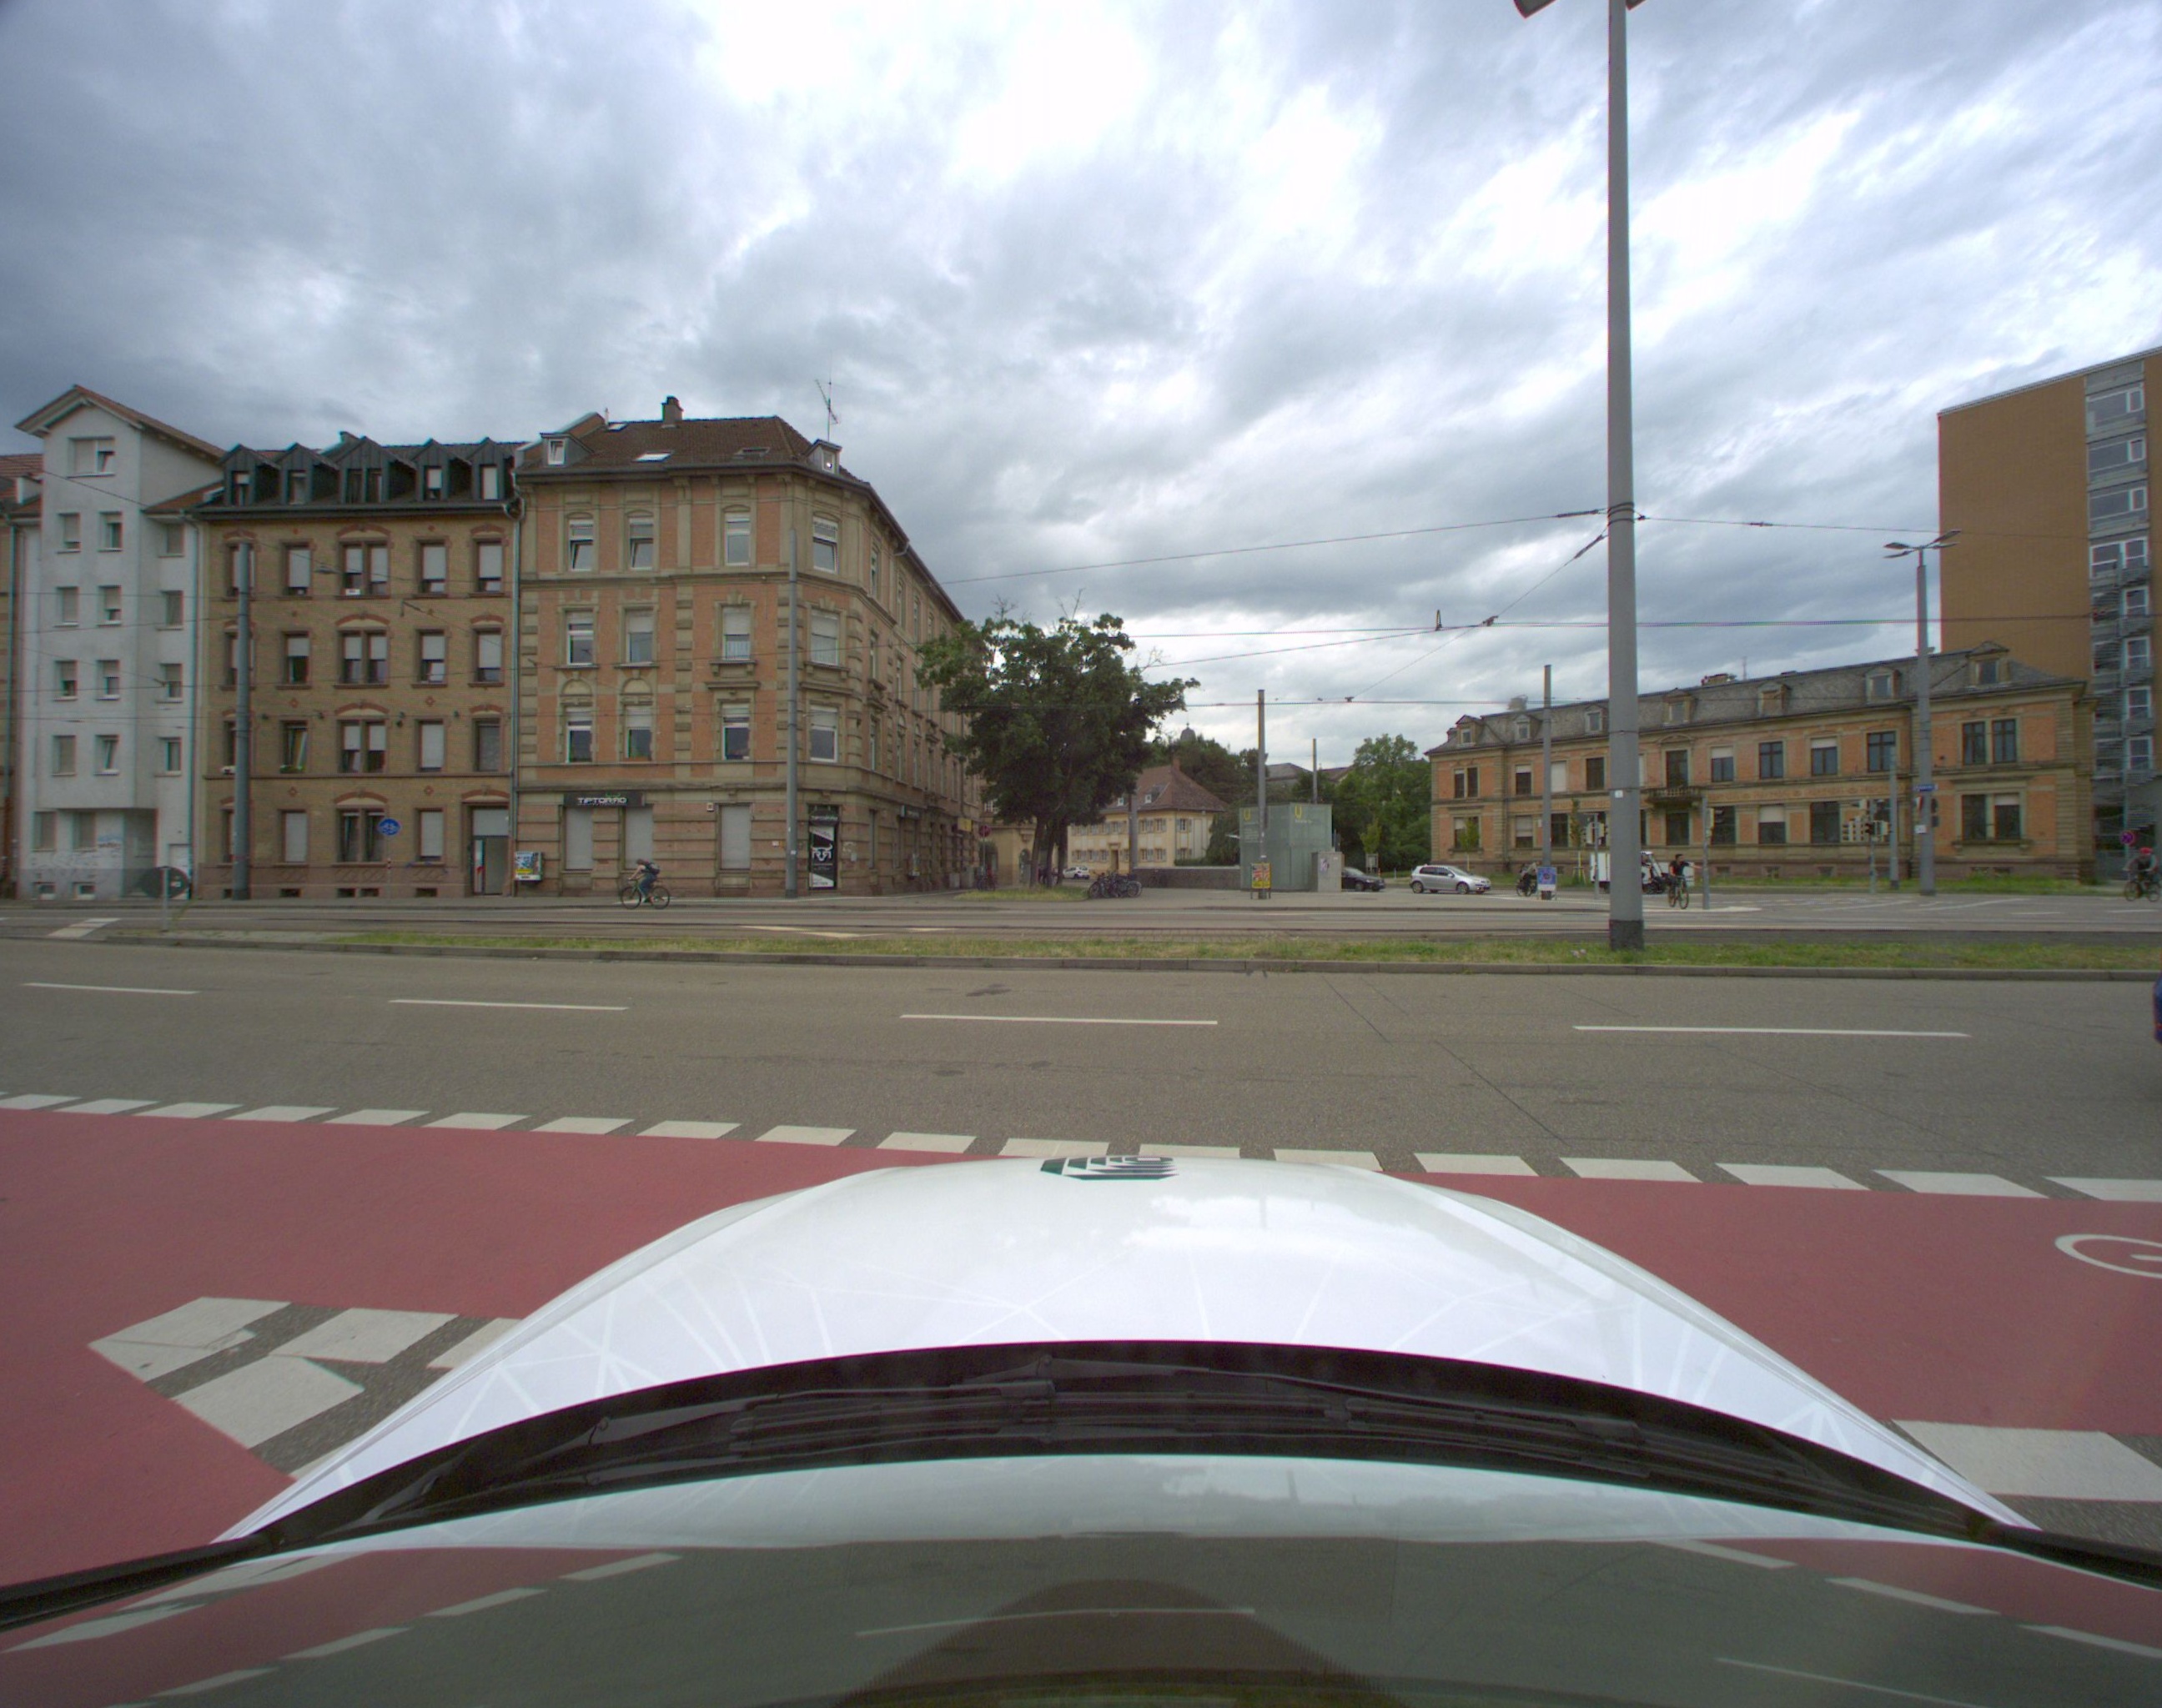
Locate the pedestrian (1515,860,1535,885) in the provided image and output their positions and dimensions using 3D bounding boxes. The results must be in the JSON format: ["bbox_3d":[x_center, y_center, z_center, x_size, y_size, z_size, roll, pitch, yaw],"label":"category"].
[{"bbox_3d":[31.885,1.335,58.525,1.113,1.763,0.763,-1,-1,43],"label":"pedestrian"}]

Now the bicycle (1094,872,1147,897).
[{"bbox_3d":[1.667,1.290,34.443,2.197,1.006,0.482,0,-1,14],"label":"bicycle"}]

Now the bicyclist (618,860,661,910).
[{"bbox_3d":[-13.579,0.943,25.059,0.936,1.494,0.663,0,-1,1],"label":"bicyclist"}]

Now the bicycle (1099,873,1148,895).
[{"bbox_3d":[1.937,1.375,37.098,2.197,0.987,0.502,0,-1,14],"label":"bicycle"}]

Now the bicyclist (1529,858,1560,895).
[{"bbox_3d":[20.849,1.010,36.662,0.859,1.623,0.908,1,-2,-35],"label":"bicyclist"}]

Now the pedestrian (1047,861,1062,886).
[{"bbox_3d":[-1.842,1.343,56.529,0.839,1.722,0.954,0,-1,8],"label":"pedestrian"}]

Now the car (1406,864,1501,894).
[{"bbox_3d":[19.209,1.242,42.143,1.769,1.454,4.116,0,-1,-34],"label":"car"}]

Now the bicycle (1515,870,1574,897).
[{"bbox_3d":[20.842,1.306,36.657,0.861,1.208,2.174,1,-2,-35],"label":"bicycle"}]

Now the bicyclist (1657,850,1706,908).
[{"bbox_3d":[19.289,0.807,26.180,0.809,1.798,1.031,-2,-1,7],"label":"bicyclist"}]

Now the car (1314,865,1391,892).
[{"bbox_3d":[15.608,1.366,46.994,1.702,1.449,4.103,0,0,-30],"label":"car"}]

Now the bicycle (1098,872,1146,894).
[{"bbox_3d":[2.000,1.412,39.351,2.197,1.039,0.691,0,-1,14],"label":"bicycle"}]

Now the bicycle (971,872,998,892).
[{"bbox_3d":[-4.521,1.301,38.342,0.656,0.914,1.996,0,0,12],"label":"bicycle"}]

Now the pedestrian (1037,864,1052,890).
[{"bbox_3d":[-2.508,1.567,55.312,0.839,1.722,0.954,0,-1,8],"label":"pedestrian"}]

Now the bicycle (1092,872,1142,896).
[{"bbox_3d":[1.484,1.246,33.905,2.016,0.987,0.524,0,-1,14],"label":"bicycle"}]

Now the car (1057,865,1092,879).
[{"bbox_3d":[-0.751,2.001,92.173,1.705,1.449,4.140,0,0,-38],"label":"car"}]

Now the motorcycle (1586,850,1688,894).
[{"bbox_3d":[26.491,0.848,38.885,1.703,2.014,3.647,0,-1,-36],"label":"motorcycle"}]

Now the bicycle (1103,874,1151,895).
[{"bbox_3d":[2.151,1.416,38.075,2.197,0.987,0.587,0,-1,14],"label":"bicycle"}]

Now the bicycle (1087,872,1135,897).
[{"bbox_3d":[1.225,1.226,33.184,1.850,0.987,0.502,0,-1,13],"label":"bicycle"}]

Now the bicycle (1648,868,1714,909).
[{"bbox_3d":[19.307,1.113,26.266,0.809,1.243,2.004,-1,-2,7],"label":"bicycle"}]

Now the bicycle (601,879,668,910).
[{"bbox_3d":[-13.720,1.249,25.058,1.708,0.915,0.608,0,-1,0],"label":"bicycle"}]

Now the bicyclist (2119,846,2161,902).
[{"bbox_3d":[36.693,0.674,28.038,1.049,1.892,0.826,0,-2,-21],"label":"bicyclist"}]

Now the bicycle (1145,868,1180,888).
[{"bbox_3d":[4.859,1.410,48.690,0.743,1.115,2.339,0,-1,-33],"label":"bicycle"}]

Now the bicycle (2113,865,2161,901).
[{"bbox_3d":[36.708,0.983,28.022,2.235,1.208,0.821,0,-2,-21],"label":"bicycle"}]

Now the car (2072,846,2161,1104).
[{"bbox_3d":[8.508,0.704,4.566,4.450,1.488,1.779,0,-1,-10],"label":"car"}]

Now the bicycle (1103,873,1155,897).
[{"bbox_3d":[2.064,1.327,35.149,2.197,0.987,0.502,0,-1,14],"label":"bicycle"}]
